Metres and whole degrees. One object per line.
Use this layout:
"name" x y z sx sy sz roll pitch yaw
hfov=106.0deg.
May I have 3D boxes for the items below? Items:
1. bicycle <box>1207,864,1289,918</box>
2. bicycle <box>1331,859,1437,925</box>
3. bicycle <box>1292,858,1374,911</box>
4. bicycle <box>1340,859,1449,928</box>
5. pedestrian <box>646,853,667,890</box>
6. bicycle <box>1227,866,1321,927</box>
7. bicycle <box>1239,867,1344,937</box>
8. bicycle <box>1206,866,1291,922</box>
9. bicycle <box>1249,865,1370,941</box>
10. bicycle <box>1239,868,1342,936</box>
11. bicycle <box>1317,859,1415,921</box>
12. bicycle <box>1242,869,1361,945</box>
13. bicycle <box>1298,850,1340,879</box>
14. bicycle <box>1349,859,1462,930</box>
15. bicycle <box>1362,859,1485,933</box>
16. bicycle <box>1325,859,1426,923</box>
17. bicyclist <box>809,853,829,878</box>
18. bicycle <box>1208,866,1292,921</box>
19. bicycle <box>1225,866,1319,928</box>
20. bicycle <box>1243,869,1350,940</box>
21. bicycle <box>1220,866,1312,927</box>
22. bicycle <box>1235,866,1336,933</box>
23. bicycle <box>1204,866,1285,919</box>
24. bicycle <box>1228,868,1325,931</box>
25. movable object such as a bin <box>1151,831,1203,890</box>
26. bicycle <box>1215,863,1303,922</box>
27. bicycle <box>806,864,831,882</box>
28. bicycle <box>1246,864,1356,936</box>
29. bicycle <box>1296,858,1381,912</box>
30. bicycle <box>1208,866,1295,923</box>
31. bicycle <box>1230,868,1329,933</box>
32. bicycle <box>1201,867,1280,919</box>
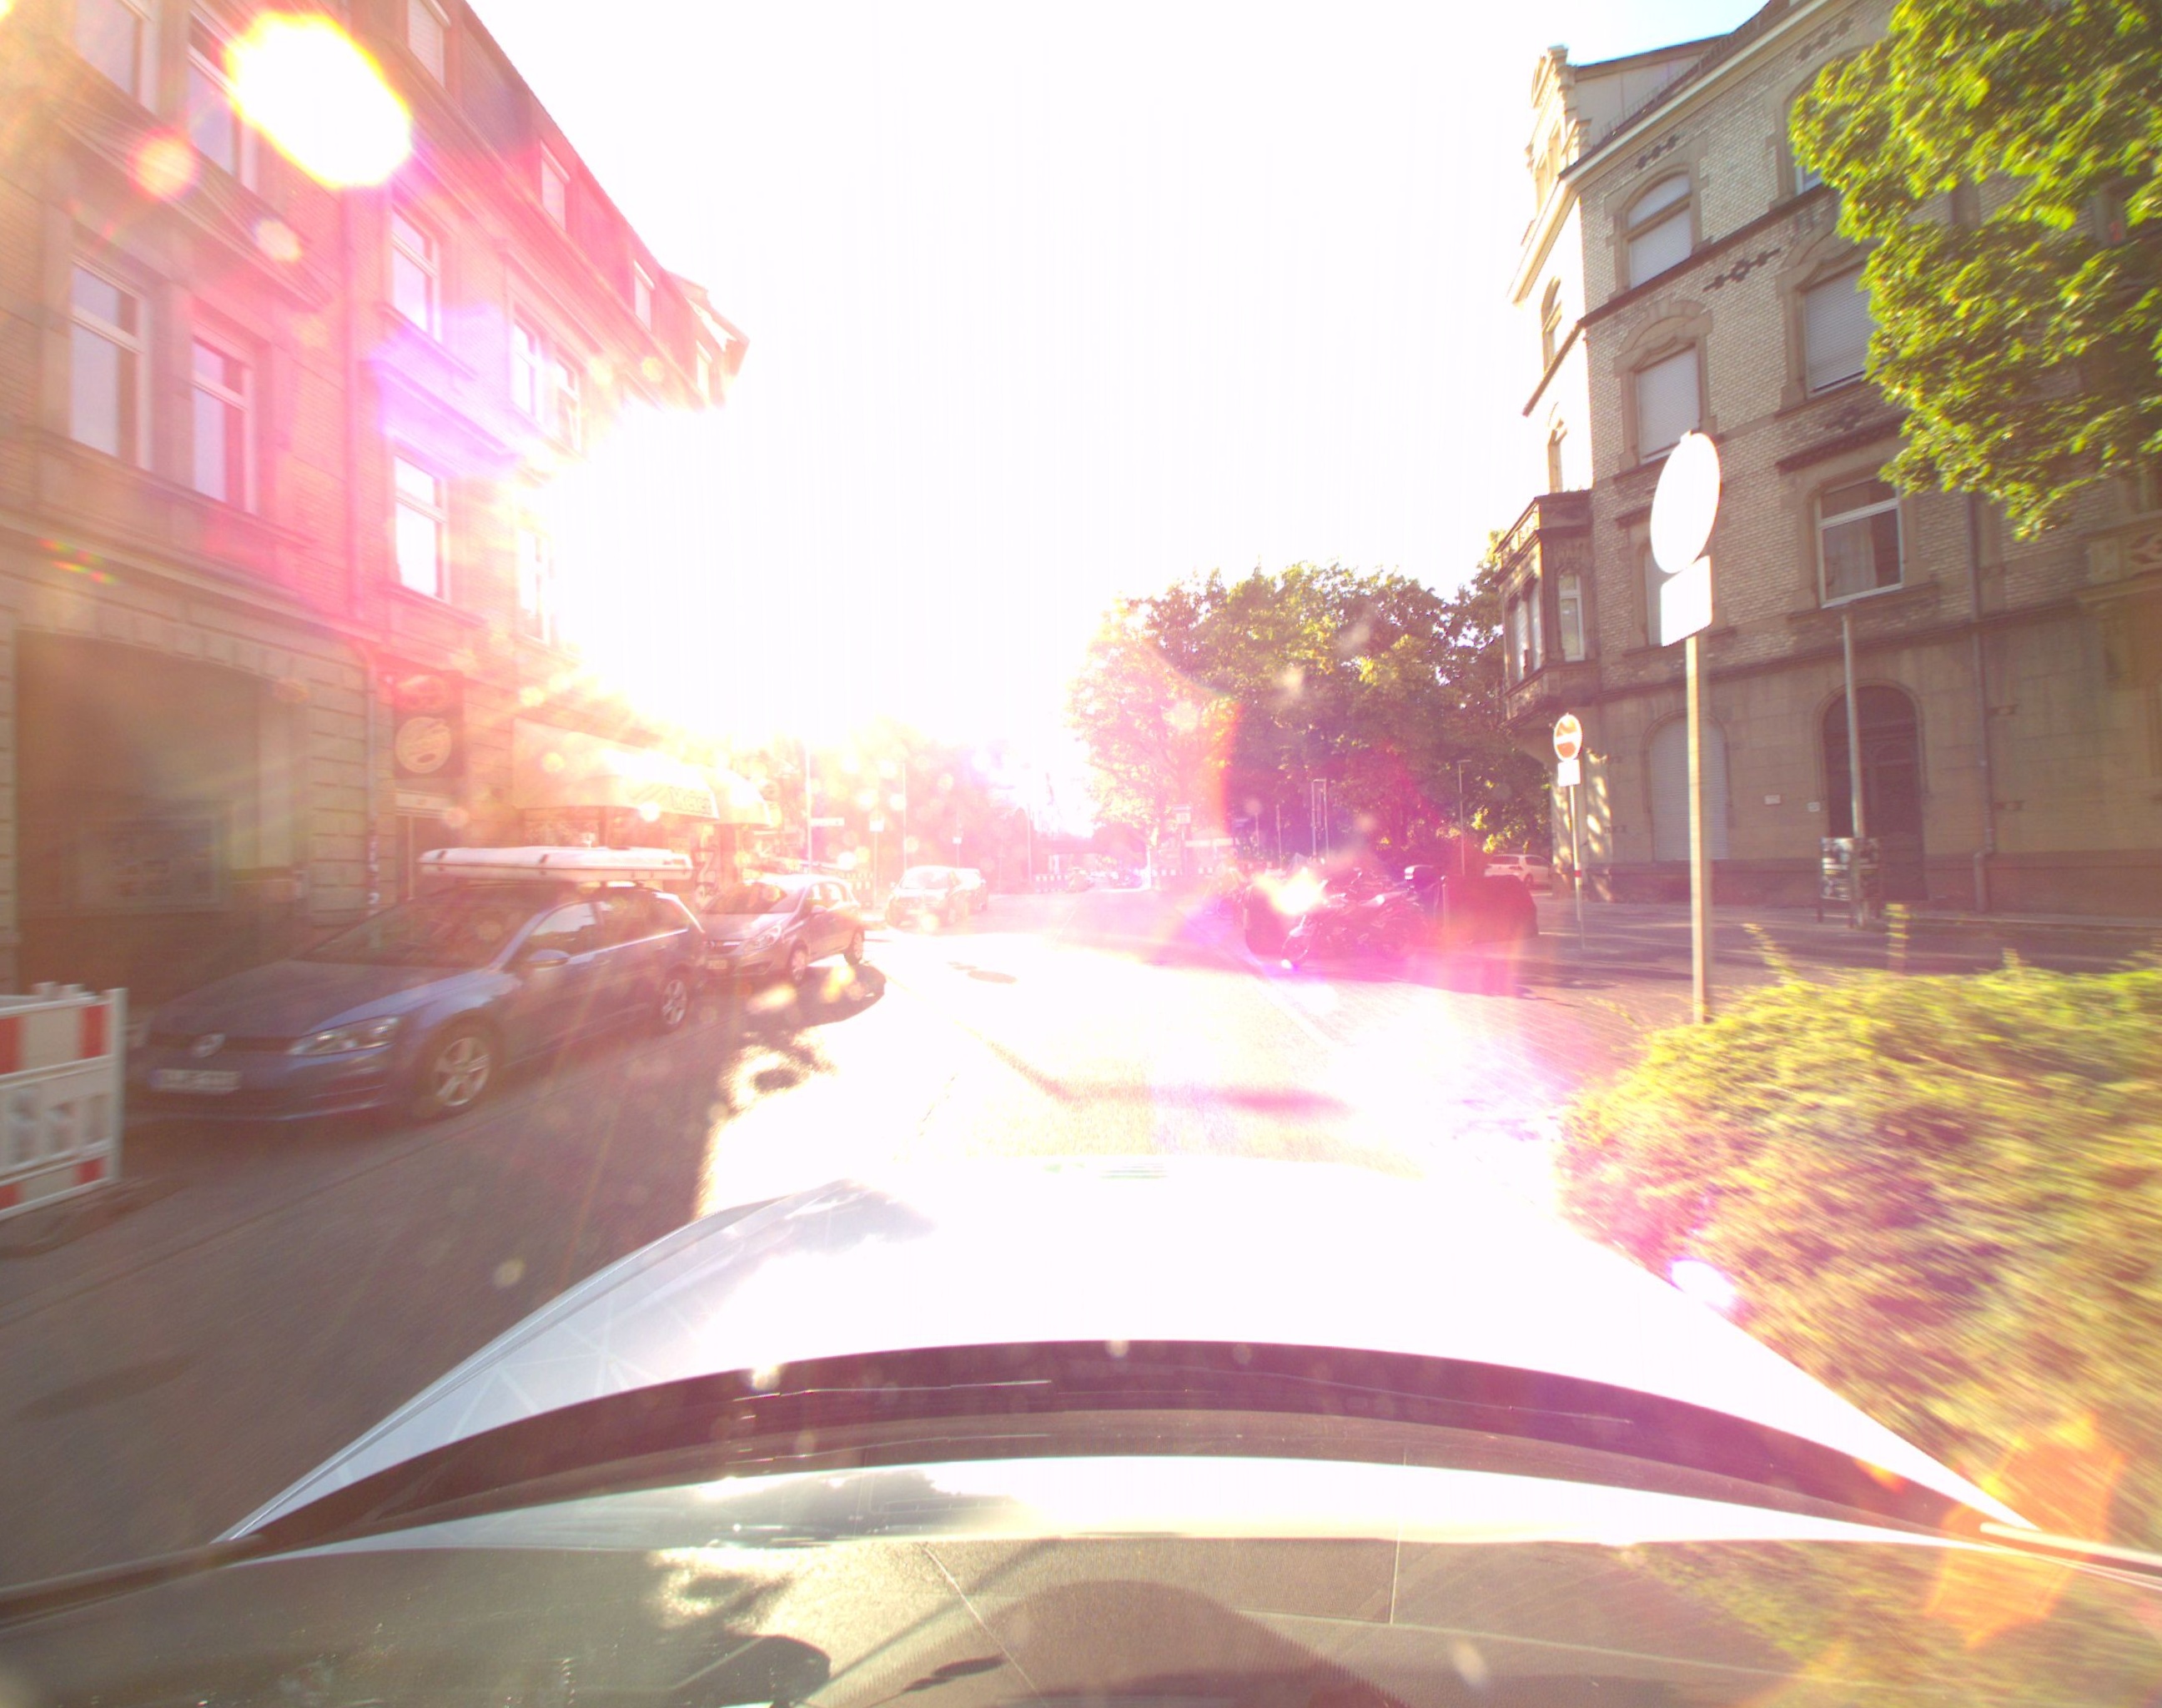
"bicycle" 4.055 0.901 19.820 1.920 1.246 0.302 -2 -1 -4
"bicycle" 6.033 0.747 16.252 1.920 1.246 0.479 -2 -1 -4
"bicycle" 6.324 0.754 20.474 1.920 1.246 0.452 -2 -1 -4
"bicycle" 6.046 0.744 15.726 1.920 1.246 0.479 -2 -1 -4
"pedestrian" -23.289 0.962 44.668 0.946 2.014 0.949 -1 -1 -32
"bicycle" 4.146 0.907 17.520 1.920 1.246 0.302 -2 -1 -4
"bicycle" 4.018 0.908 15.575 1.920 1.246 0.302 -2 -1 -4
"bicycle" 3.954 0.932 19.244 1.920 1.246 0.302 -2 -1 -4
"bicycle" 4.032 0.844 14.438 1.920 1.246 0.647 -2 -1 -4
"bicycle" 4.085 0.921 15.889 1.920 1.246 0.302 -2 -1 -4
"bicycle" 6.046 0.752 17.301 1.920 1.246 0.479 -2 -1 -4
"bicycle" 3.680 0.881 13.679 1.811 1.127 0.443 -4 -1 0
"bicycle" 11.174 0.501 38.290 1.024 1.285 2.139 -3 0 -10
"bicycle" 6.051 0.741 15.205 1.920 1.246 0.479 -2 -1 -4
"bicycle" 6.118 0.736 14.605 1.920 1.246 0.647 -2 -1 -4
"bicycle" 6.053 0.749 16.768 1.920 1.246 0.395 -2 -1 -4
"bicyclist" -14.591 0.654 45.282 0.809 1.383 0.975 0 -1 -34
"bicycle" 4.047 0.936 19.481 1.920 1.246 0.302 -2 -1 -4
"bicycle" 4.036 0.902 17.234 1.920 1.246 0.302 -2 -1 -4
"bicycle" 4.030 0.938 15.245 1.920 1.246 0.302 -2 -1 -4
"bicycle" 4.055 0.923 17.875 1.920 1.246 0.302 -2 -1 -4
"bicycle" 4.063 0.895 16.225 1.920 1.246 0.302 -2 -1 -4
"bicycle" 4.039 0.938 20.140 1.920 1.246 0.302 -2 -1 -4
"bicycle" 4.049 0.937 16.896 1.920 1.246 0.302 -2 -1 -4
"movable object such as a bin" 4.741 0.329 39.888 1.979 2.699 3.123 -2 -1 15
"bicycle" 3.976 0.863 18.208 1.902 1.246 0.302 -2 -1 -4
"bicycle" -14.640 1.047 45.341 0.809 0.968 2.086 0 -1 -33
"bicycle" 4.026 0.831 14.938 1.920 1.246 0.302 -2 -1 -4
"bicycle" 6.293 0.746 19.962 1.920 1.246 0.479 -2 -1 -4
"bicycle" 3.951 0.938 18.899 1.920 1.246 0.302 -2 -1 -4
"bicycle" 4.037 0.940 16.549 1.920 1.246 0.302 -2 -1 -4
"bicycle" 4.007 0.972 20.486 1.920 1.246 0.302 -2 -1 -4
